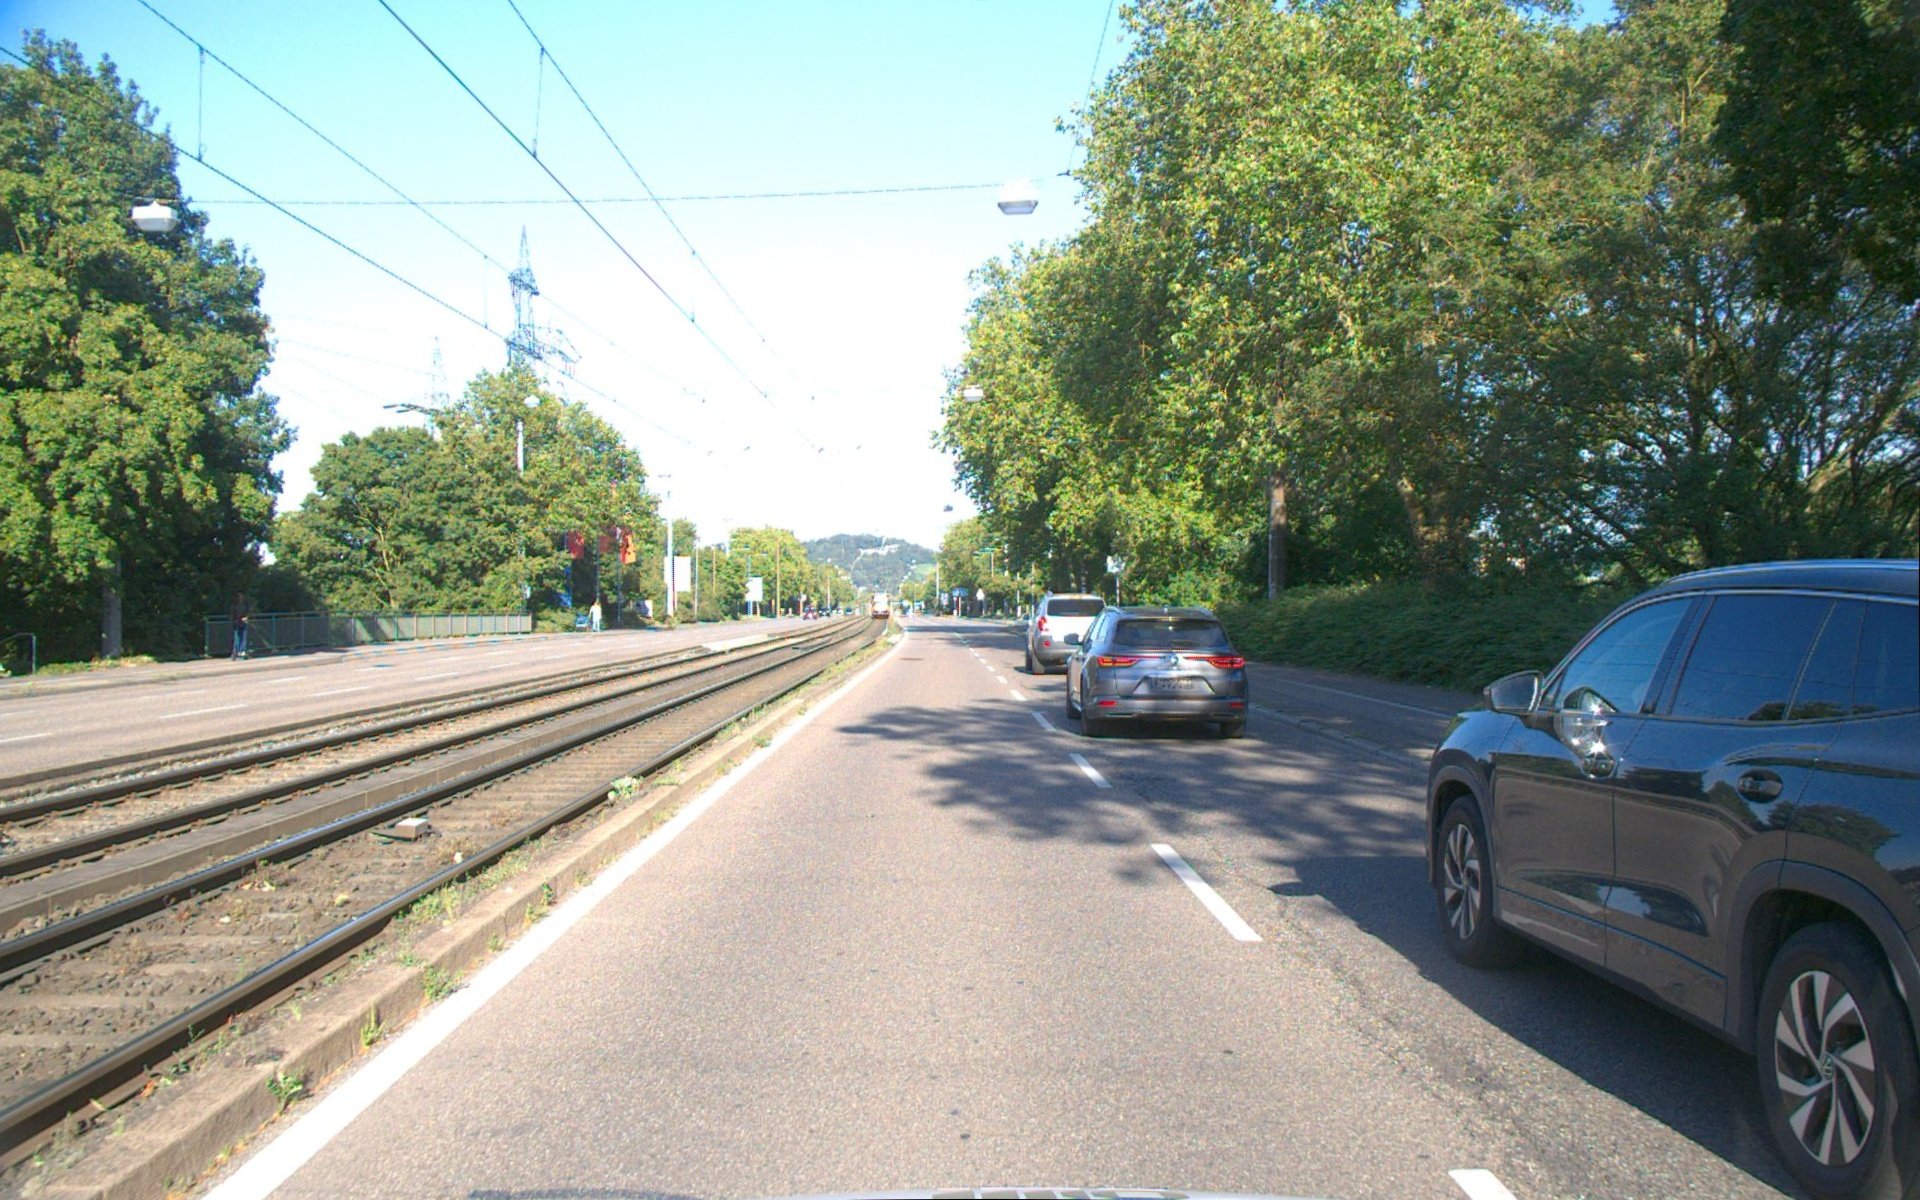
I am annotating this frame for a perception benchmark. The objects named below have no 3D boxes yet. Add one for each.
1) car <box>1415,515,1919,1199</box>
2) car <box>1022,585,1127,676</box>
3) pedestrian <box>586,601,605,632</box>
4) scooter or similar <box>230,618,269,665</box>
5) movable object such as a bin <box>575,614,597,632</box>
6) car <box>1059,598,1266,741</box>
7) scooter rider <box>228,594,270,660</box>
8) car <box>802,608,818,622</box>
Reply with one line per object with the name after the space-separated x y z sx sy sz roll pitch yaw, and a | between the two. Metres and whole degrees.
3.051 0.662 5.393 1.807 1.690 4.438 1 0 -1 | car
2.443 0.609 36.154 1.845 1.827 3.999 2 1 -2 | car
-21.343 0.962 96.879 0.709 1.787 0.835 1 -1 20 | pedestrian
-20.440 1.189 47.612 0.462 1.318 1.263 -1 0 5 | scooter or similar
-21.690 1.328 95.961 0.709 0.978 1.101 2 -1 20 | movable object such as a bin
2.277 0.740 19.762 1.828 1.493 4.665 0 0 -1 | car
-20.447 0.768 47.574 0.667 1.881 1.001 -1 0 6 | scooter rider
-19.899 1.944 219.096 1.825 1.750 3.999 0 1 -2 | car
